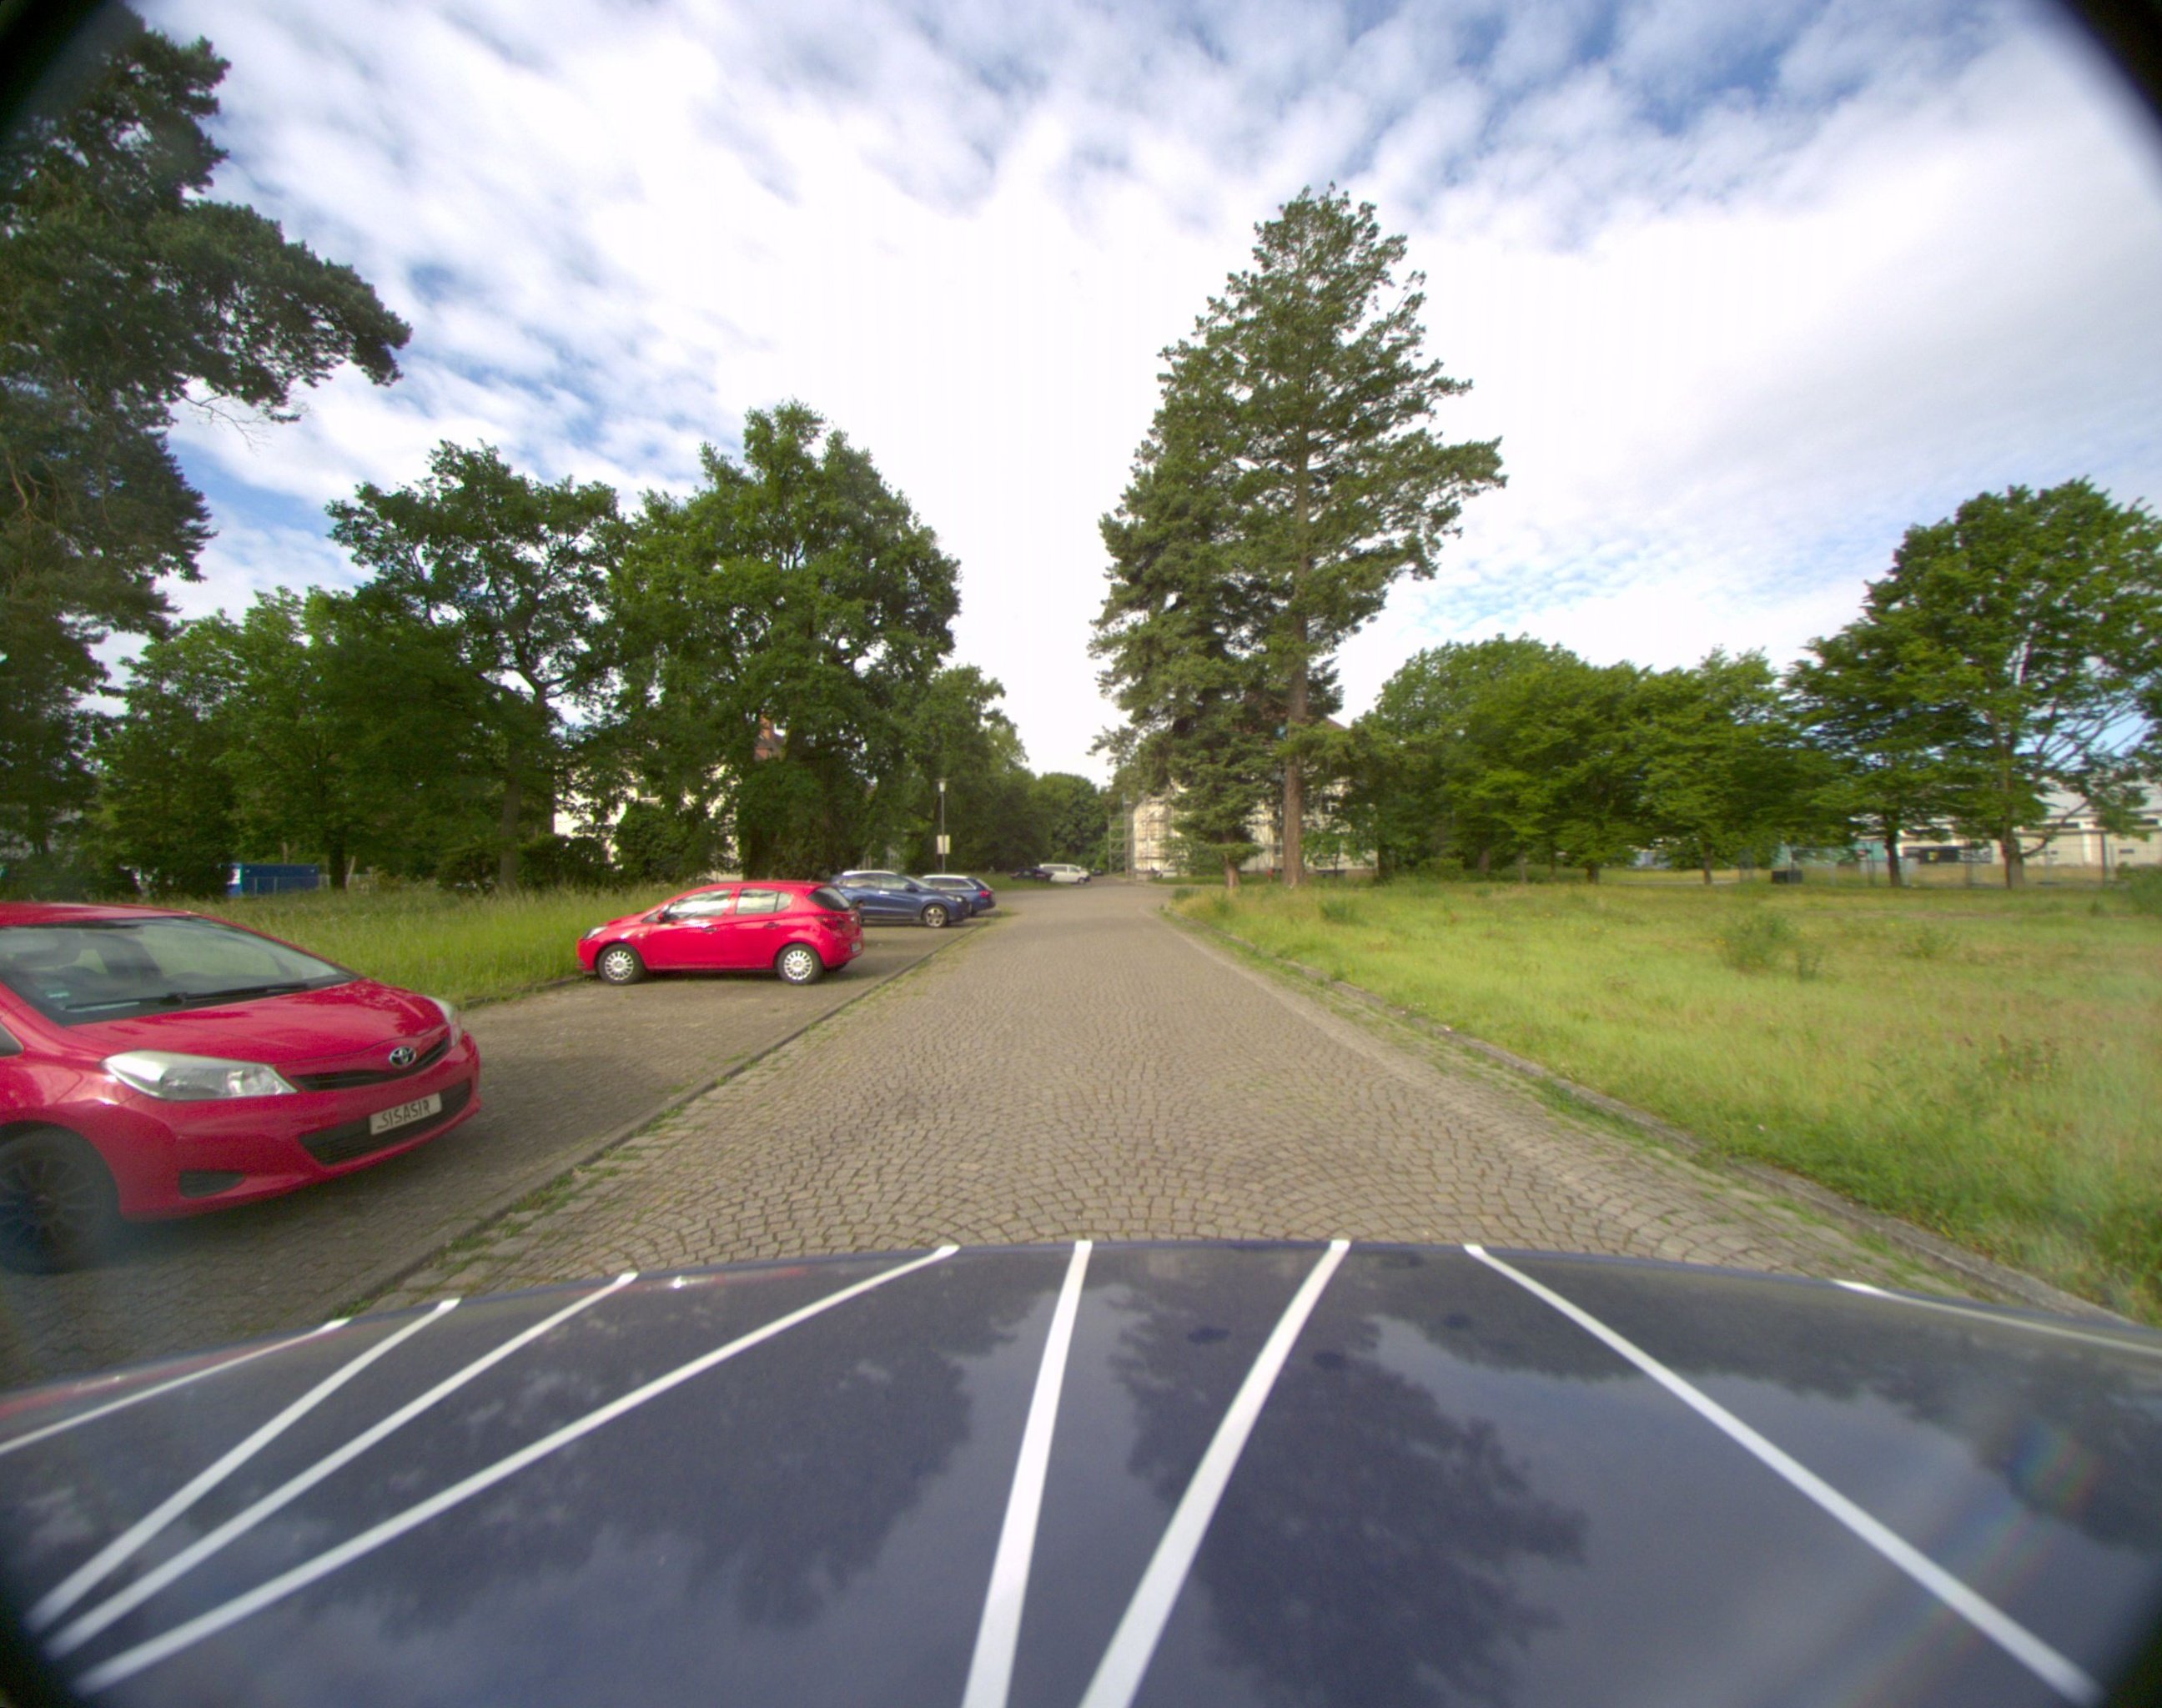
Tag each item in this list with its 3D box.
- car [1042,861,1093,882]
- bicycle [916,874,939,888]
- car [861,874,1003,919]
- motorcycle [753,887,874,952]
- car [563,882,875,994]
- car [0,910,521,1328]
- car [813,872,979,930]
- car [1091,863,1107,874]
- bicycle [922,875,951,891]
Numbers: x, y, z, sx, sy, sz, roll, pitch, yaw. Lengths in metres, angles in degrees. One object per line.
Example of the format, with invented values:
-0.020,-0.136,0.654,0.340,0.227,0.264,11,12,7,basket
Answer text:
-1.386,1.716,75.288,4.916,1.982,2.000,-1,-1,-3,car
-12.365,2.173,61.103,1.753,1.082,0.552,0,2,-22,bicycle
-5.112,1.442,26.523,4.515,1.456,1.896,0,-1,3,car
-5.527,1.350,15.779,2.271,1.267,0.605,0,0,-5,motorcycle
-5.257,1.198,11.435,3.849,1.496,1.738,0,-1,-1,car
-5.472,1.125,3.817,3.997,1.509,1.738,-1,-1,0,car
-5.187,1.320,21.742,4.274,1.564,1.895,0,-1,-1,car
3.347,2.657,141.806,2.029,1.915,3.997,-1,-1,-11,car
-10.464,2.093,54.898,2.020,1.082,0.478,0,2,-22,bicycle
